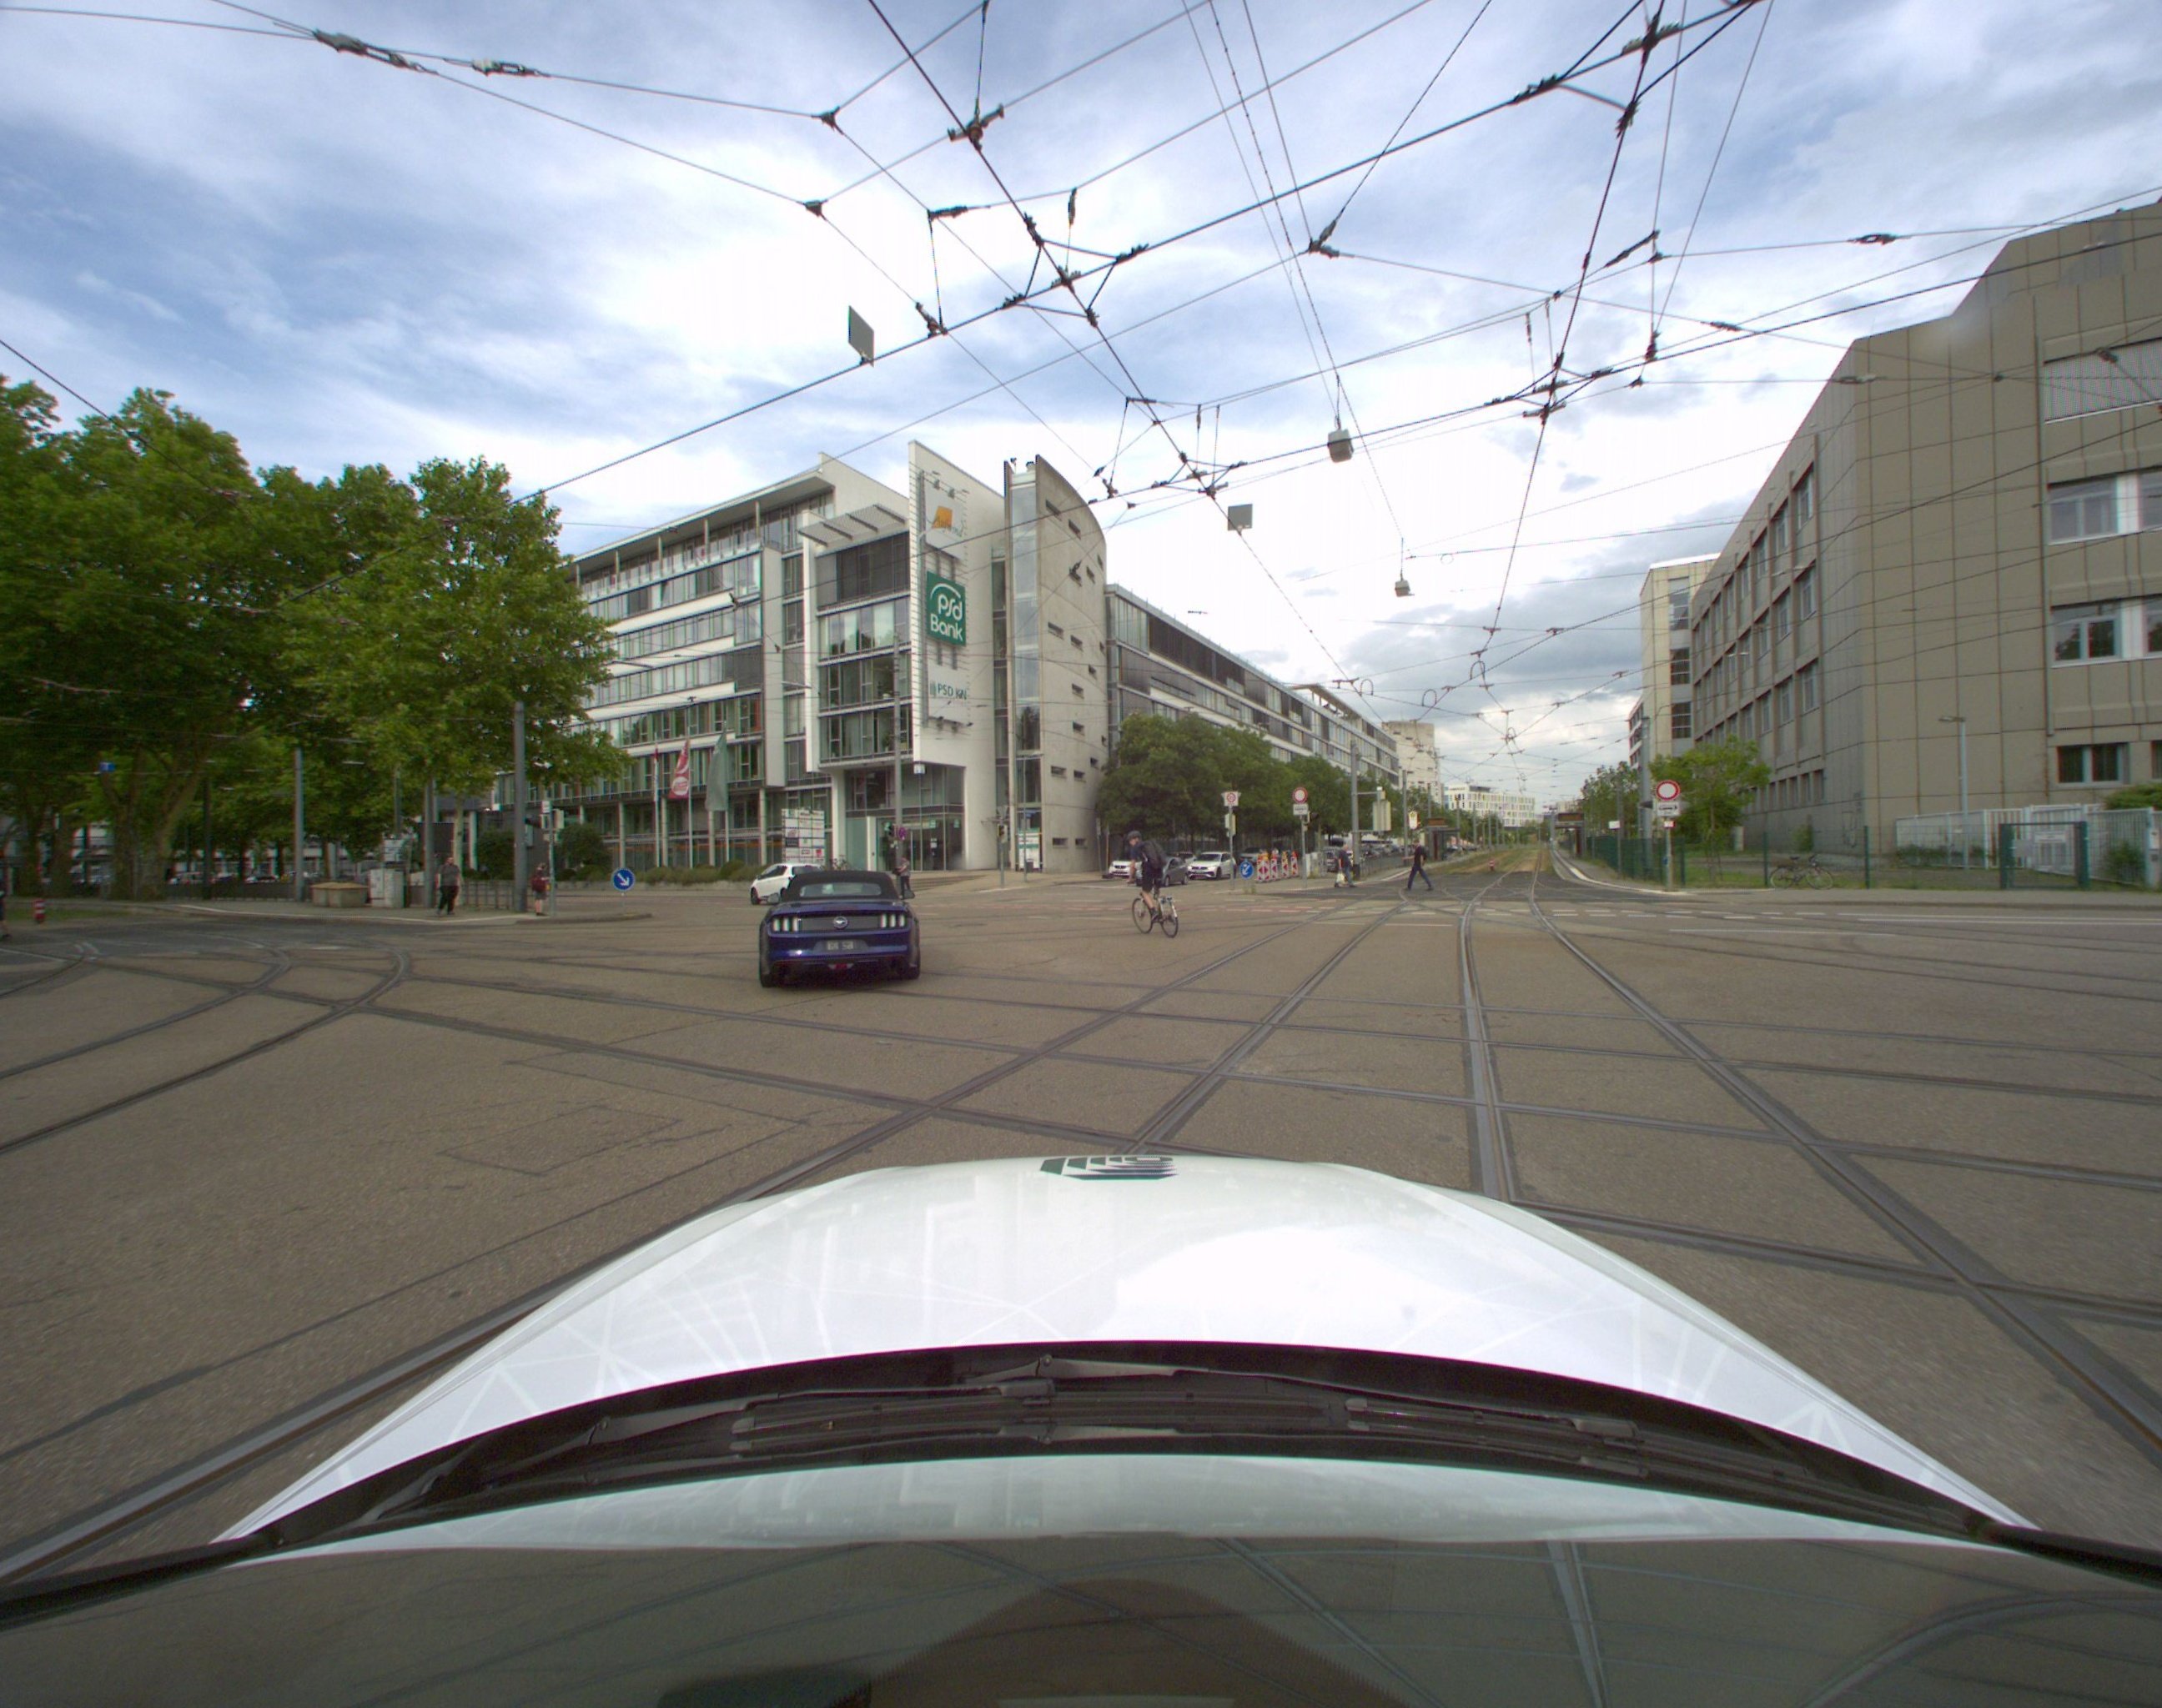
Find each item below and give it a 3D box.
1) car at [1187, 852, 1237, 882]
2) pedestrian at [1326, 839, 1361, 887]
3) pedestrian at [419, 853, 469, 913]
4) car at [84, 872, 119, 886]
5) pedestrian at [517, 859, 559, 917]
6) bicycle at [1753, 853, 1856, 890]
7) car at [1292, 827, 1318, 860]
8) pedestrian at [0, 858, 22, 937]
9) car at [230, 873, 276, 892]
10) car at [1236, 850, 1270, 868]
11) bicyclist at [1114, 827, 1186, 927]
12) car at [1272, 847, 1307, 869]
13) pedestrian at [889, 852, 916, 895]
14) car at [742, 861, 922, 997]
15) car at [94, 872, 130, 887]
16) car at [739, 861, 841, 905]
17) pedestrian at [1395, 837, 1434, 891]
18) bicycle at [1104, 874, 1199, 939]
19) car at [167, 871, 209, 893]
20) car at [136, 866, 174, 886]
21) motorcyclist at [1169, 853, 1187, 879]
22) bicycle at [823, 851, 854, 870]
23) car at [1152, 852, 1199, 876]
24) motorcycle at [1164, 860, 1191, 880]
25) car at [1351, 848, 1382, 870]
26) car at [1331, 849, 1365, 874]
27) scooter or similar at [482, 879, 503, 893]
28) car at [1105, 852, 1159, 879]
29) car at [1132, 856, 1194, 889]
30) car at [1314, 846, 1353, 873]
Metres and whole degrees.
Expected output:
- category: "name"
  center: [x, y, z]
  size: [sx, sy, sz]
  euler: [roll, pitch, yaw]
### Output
- category: "car"
  center: [7.896, 0.728, 48.843]
  size: [1.699, 1.660, 4.158]
  euler: [1, 1, 29]
- category: "pedestrian"
  center: [10.372, 0.371, 32.216]
  size: [0.979, 1.855, 0.907]
  euler: [-2, -1, 42]
- category: "pedestrian"
  center: [-19.928, 0.896, 25.485]
  size: [0.837, 1.855, 0.843]
  euler: [-2, 0, 10]
- category: "car"
  center: [-108.756, 2.796, 90.401]
  size: [4.121, 1.521, 1.853]
  euler: [-2, 0, 32]
- category: "pedestrian"
  center: [-16.288, 1.012, 24.425]
  size: [0.926, 1.671, 0.771]
  euler: [-2, -1, 37]
- category: "bicycle"
  center: [20.631, 0.528, 23.283]
  size: [0.633, 0.981, 2.146]
  euler: [-1, -3, -17]
- category: "car"
  center: [25.022, -1.187, 90.759]
  size: [1.968, 3.636, 4.539]
  euler: [1, 1, 26]
- category: "pedestrian"
  center: [-26.612, 1.074, 19.787]
  size: [0.795, 1.899, 1.009]
  euler: [-2, 0, 40]
- category: "car"
  center: [-74.340, 2.565, 73.120]
  size: [4.269, 1.582, 1.898]
  euler: [-1, -1, 30]
- category: "car"
  center: [15.681, 0.433, 74.011]
  size: [1.968, 1.556, 4.539]
  euler: [1, 1, 26]
- category: "bicyclist"
  center: [1.275, 0.414, 15.293]
  size: [0.800, 1.785, 1.222]
  euler: [-1, 0, -26]
- category: "car"
  center: [16.549, 0.283, 64.503]
  size: [1.699, 1.660, 4.158]
  euler: [1, 1, 29]
- category: "pedestrian"
  center: [-7.883, 0.859, 35.880]
  size: [0.825, 1.865, 0.771]
  euler: [-2, -1, 37]
- category: "car"
  center: [-3.147, 0.835, 11.133]
  size: [1.877, 1.404, 4.266]
  euler: [-1, 0, -11]
- category: "car"
  center: [-103.396, 2.747, 86.882]
  size: [4.121, 1.521, 1.853]
  euler: [-2, 0, 32]
- category: "car"
  center: [-10.526, 1.025, 29.353]
  size: [4.135, 1.439, 1.852]
  euler: [-2, 0, 45]
- category: "pedestrian"
  center: [11.932, 0.366, 29.101]
  size: [1.075, 1.898, 0.907]
  euler: [-2, -1, 34]
- category: "bicycle"
  center: [1.280, 0.943, 15.306]
  size: [0.804, 1.086, 2.113]
  euler: [-1, 0, -26]
- category: "car"
  center: [-83.770, 2.640, 76.362]
  size: [4.076, 1.903, 1.908]
  euler: [-2, 0, 32]
- category: "car"
  center: [-94.274, 2.281, 82.904]
  size: [4.121, 1.903, 1.853]
  euler: [-2, 0, 32]
- category: "motorcyclist"
  center: [6.089, 0.749, 51.181]
  size: [0.811, 1.616, 0.888]
  euler: [0, 0, 29]
- category: "bicycle"
  center: [-15.408, 0.421, 51.892]
  size: [0.579, 1.177, 2.127]
  euler: [0, 0, 27]
- category: "car"
  center: [6.783, 0.692, 57.964]
  size: [1.812, 1.556, 4.242]
  euler: [1, 1, 29]
- category: "motorcycle"
  center: [6.082, 0.970, 51.167]
  size: [0.817, 1.200, 2.517]
  euler: [0, 0, 29]
- category: "car"
  center: [22.697, 0.388, 64.589]
  size: [1.851, 1.606, 4.237]
  euler: [-2, 0, 25]
- category: "car"
  center: [18.754, 0.514, 57.105]
  size: [1.689, 1.606, 4.102]
  euler: [-2, 0, 25]
- category: "scooter or similar"
  center: [-40.045, 2.180, 55.426]
  size: [1.835, 0.950, 0.593]
  euler: [-2, 0, 36]
- category: "car"
  center: [3.285, 0.668, 51.552]
  size: [1.812, 1.556, 4.242]
  euler: [1, 1, 29]
- category: "car"
  center: [4.341, 0.918, 42.453]
  size: [1.652, 1.506, 4.261]
  euler: [1, 1, 29]
- category: "car"
  center: [16.297, 0.352, 52.444]
  size: [1.862, 1.628, 4.110]
  euler: [-2, 0, 25]
